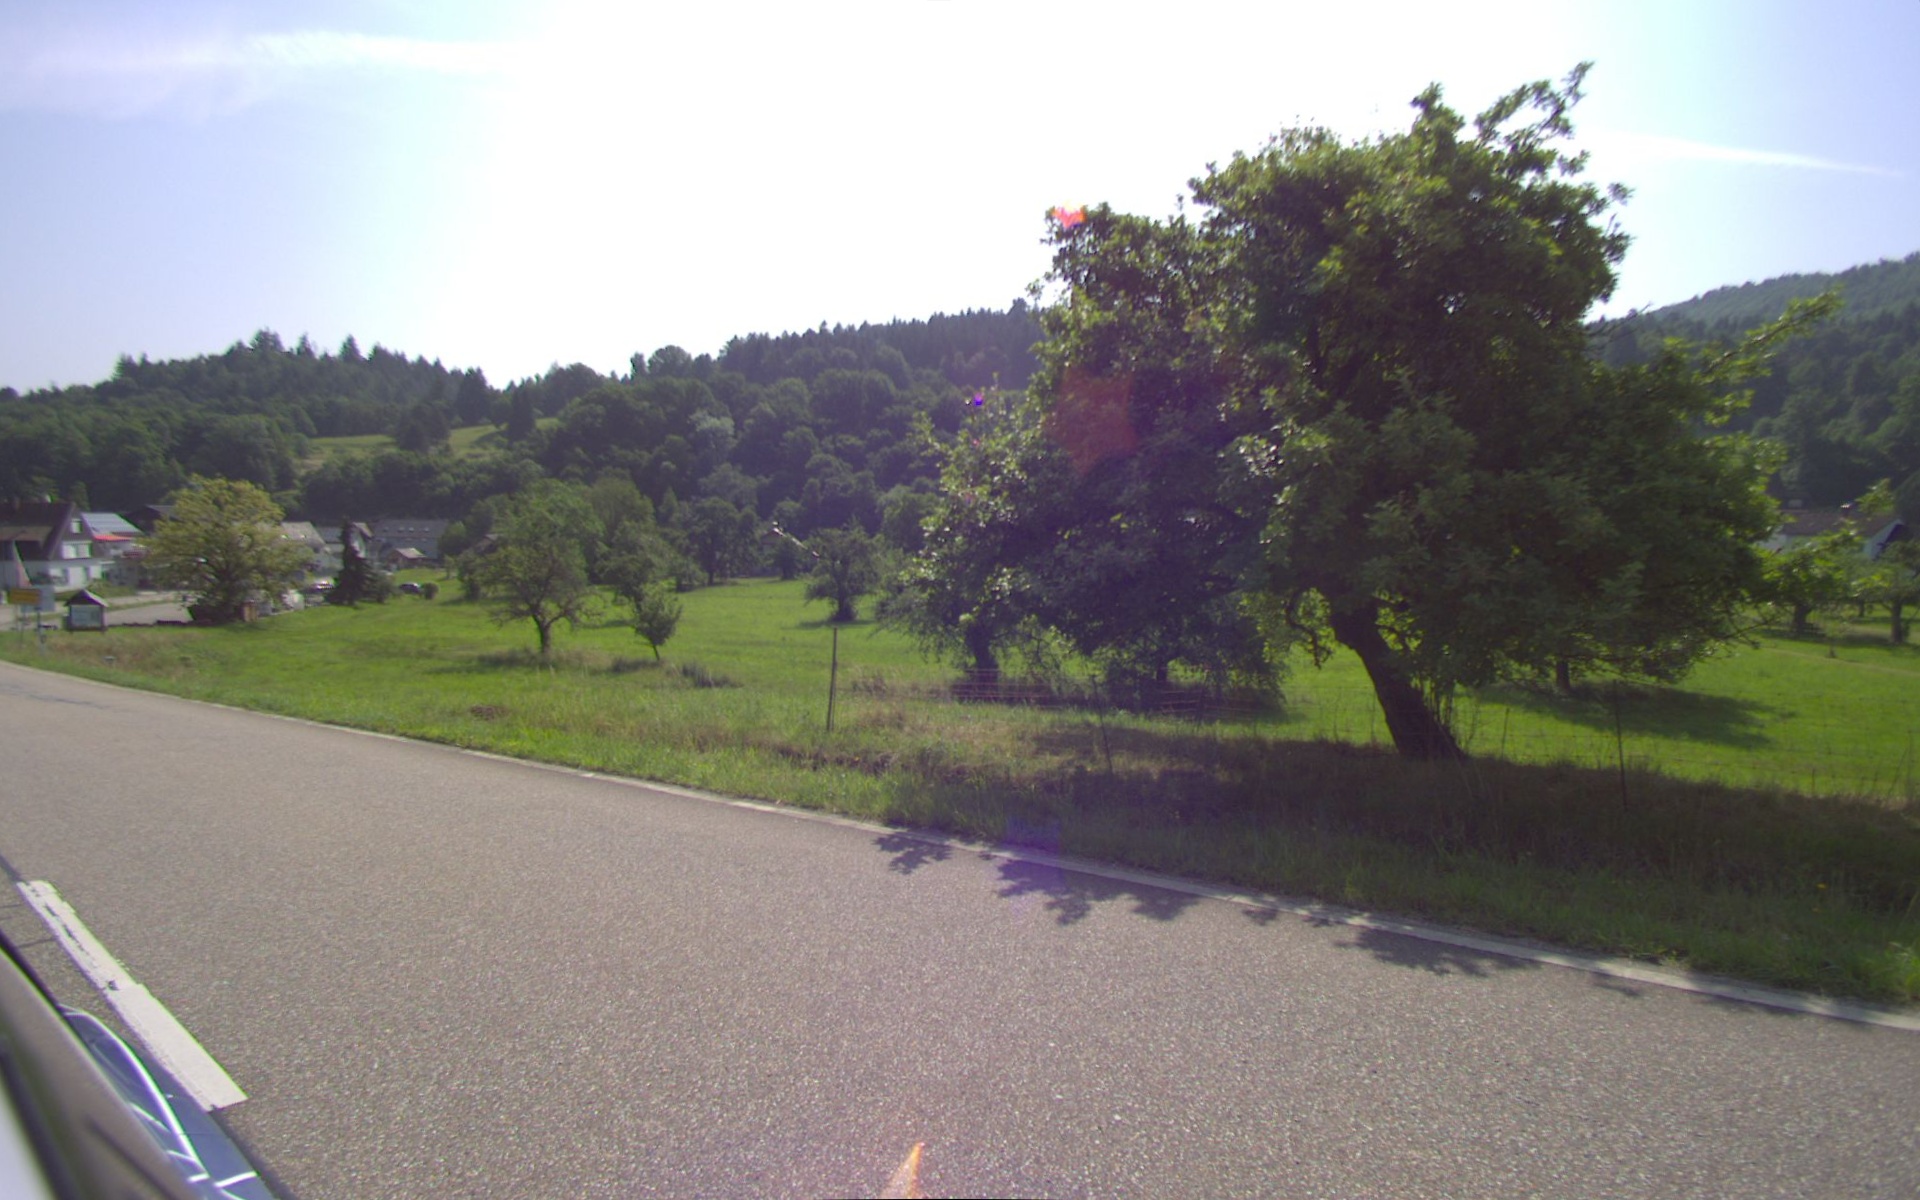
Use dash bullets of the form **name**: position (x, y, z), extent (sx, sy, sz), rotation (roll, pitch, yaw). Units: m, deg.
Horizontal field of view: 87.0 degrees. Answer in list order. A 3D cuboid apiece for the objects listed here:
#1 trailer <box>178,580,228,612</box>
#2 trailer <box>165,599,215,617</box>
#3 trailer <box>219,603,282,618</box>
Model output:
- **trailer**: position (-73.133, -0.400, 97.839), extent (3.344, 2.933, 1.890), rotation (-2, 3, -22)
- **trailer**: position (-70.045, 0.731, 92.172), extent (1.966, 1.235, 5.565), rotation (-2, 3, -20)
- **trailer**: position (-58.881, 0.850, 84.078), extent (3.878, 0.946, 1.874), rotation (-2, 4, -17)
